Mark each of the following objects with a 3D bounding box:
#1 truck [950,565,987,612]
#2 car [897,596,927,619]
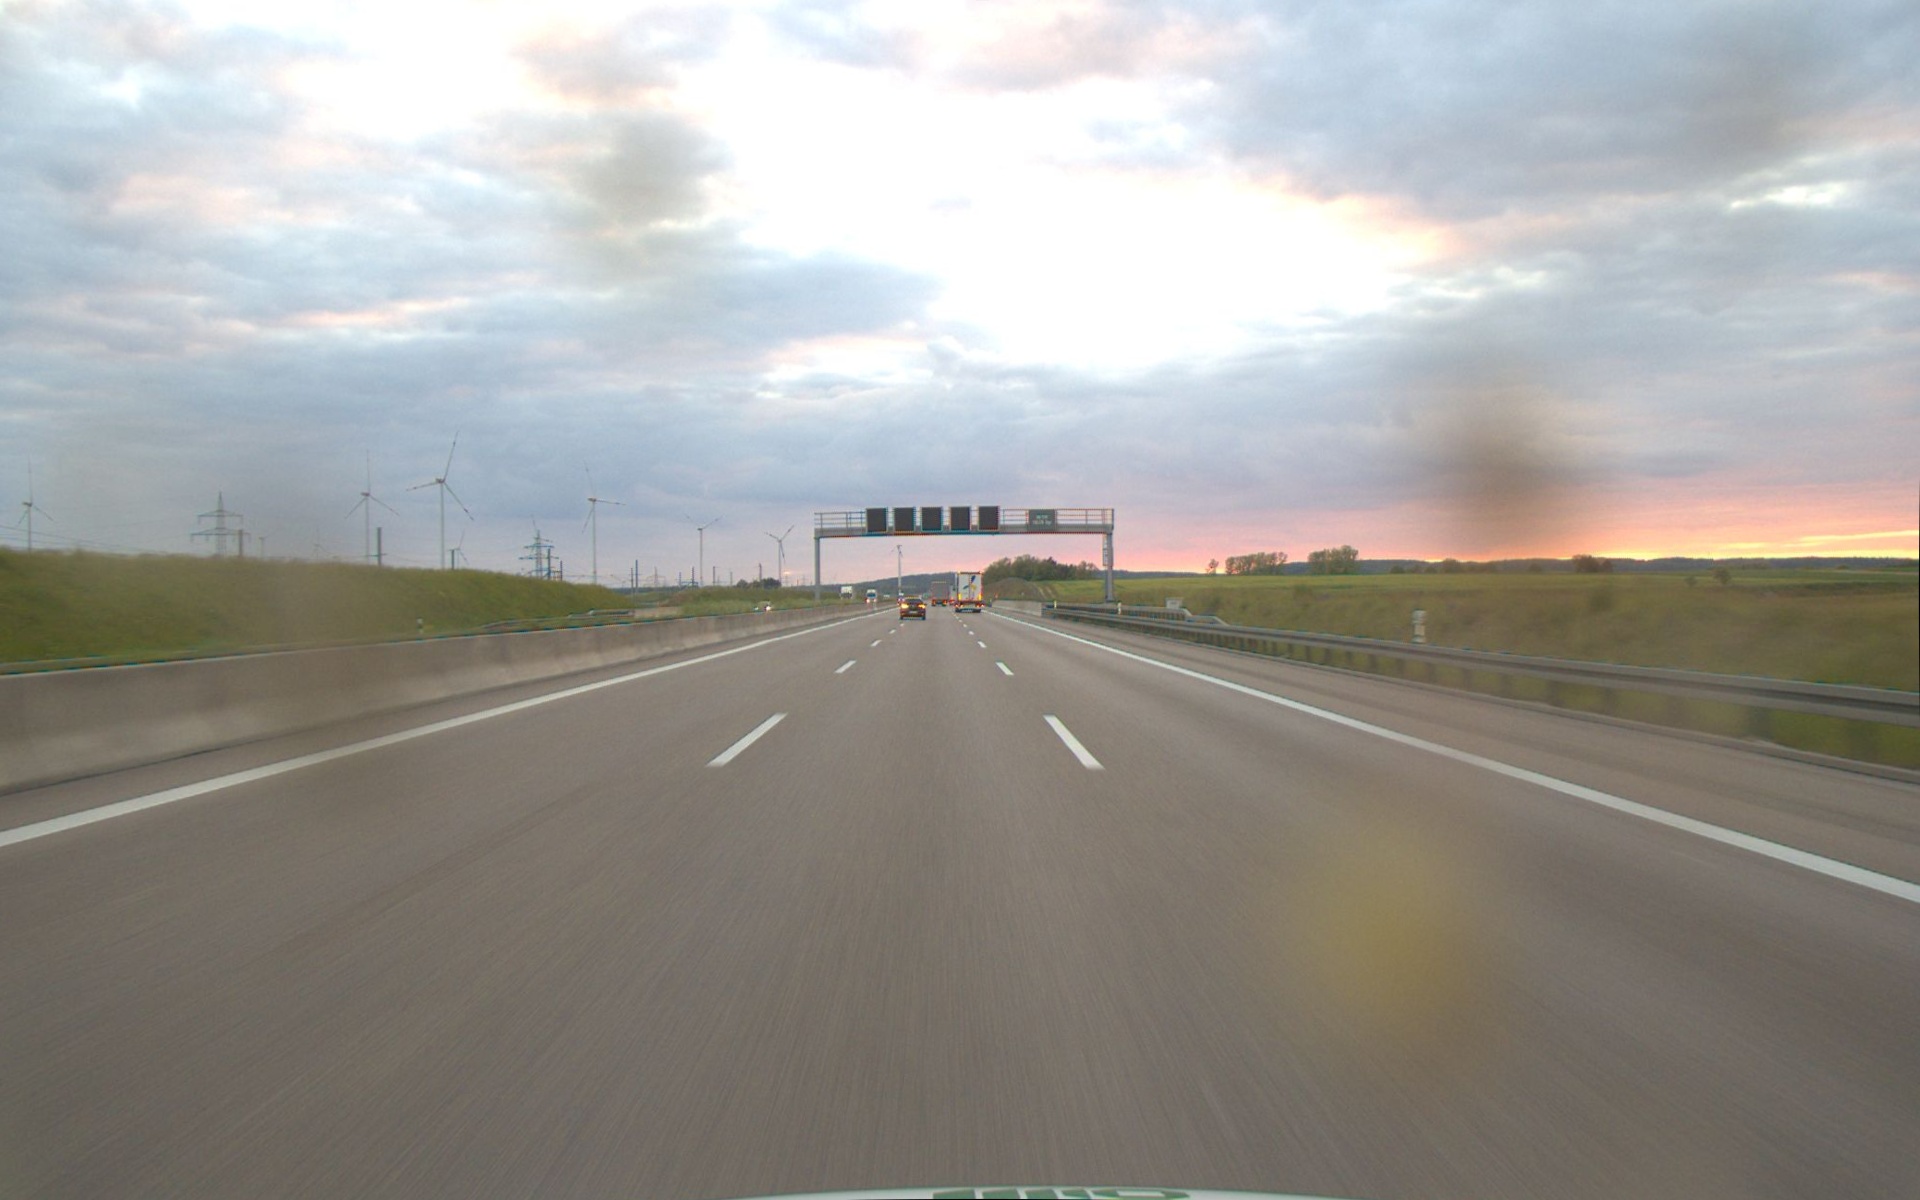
[{"bbox_3d":[0.857,-1.200,172.298,3.600,4.644,10.979,1,0,-1],"label":"truck"},{"bbox_3d":[-3.211,0.456,110.768,1.947,1.454,3.999,-1,0,-1],"label":"car"}]
